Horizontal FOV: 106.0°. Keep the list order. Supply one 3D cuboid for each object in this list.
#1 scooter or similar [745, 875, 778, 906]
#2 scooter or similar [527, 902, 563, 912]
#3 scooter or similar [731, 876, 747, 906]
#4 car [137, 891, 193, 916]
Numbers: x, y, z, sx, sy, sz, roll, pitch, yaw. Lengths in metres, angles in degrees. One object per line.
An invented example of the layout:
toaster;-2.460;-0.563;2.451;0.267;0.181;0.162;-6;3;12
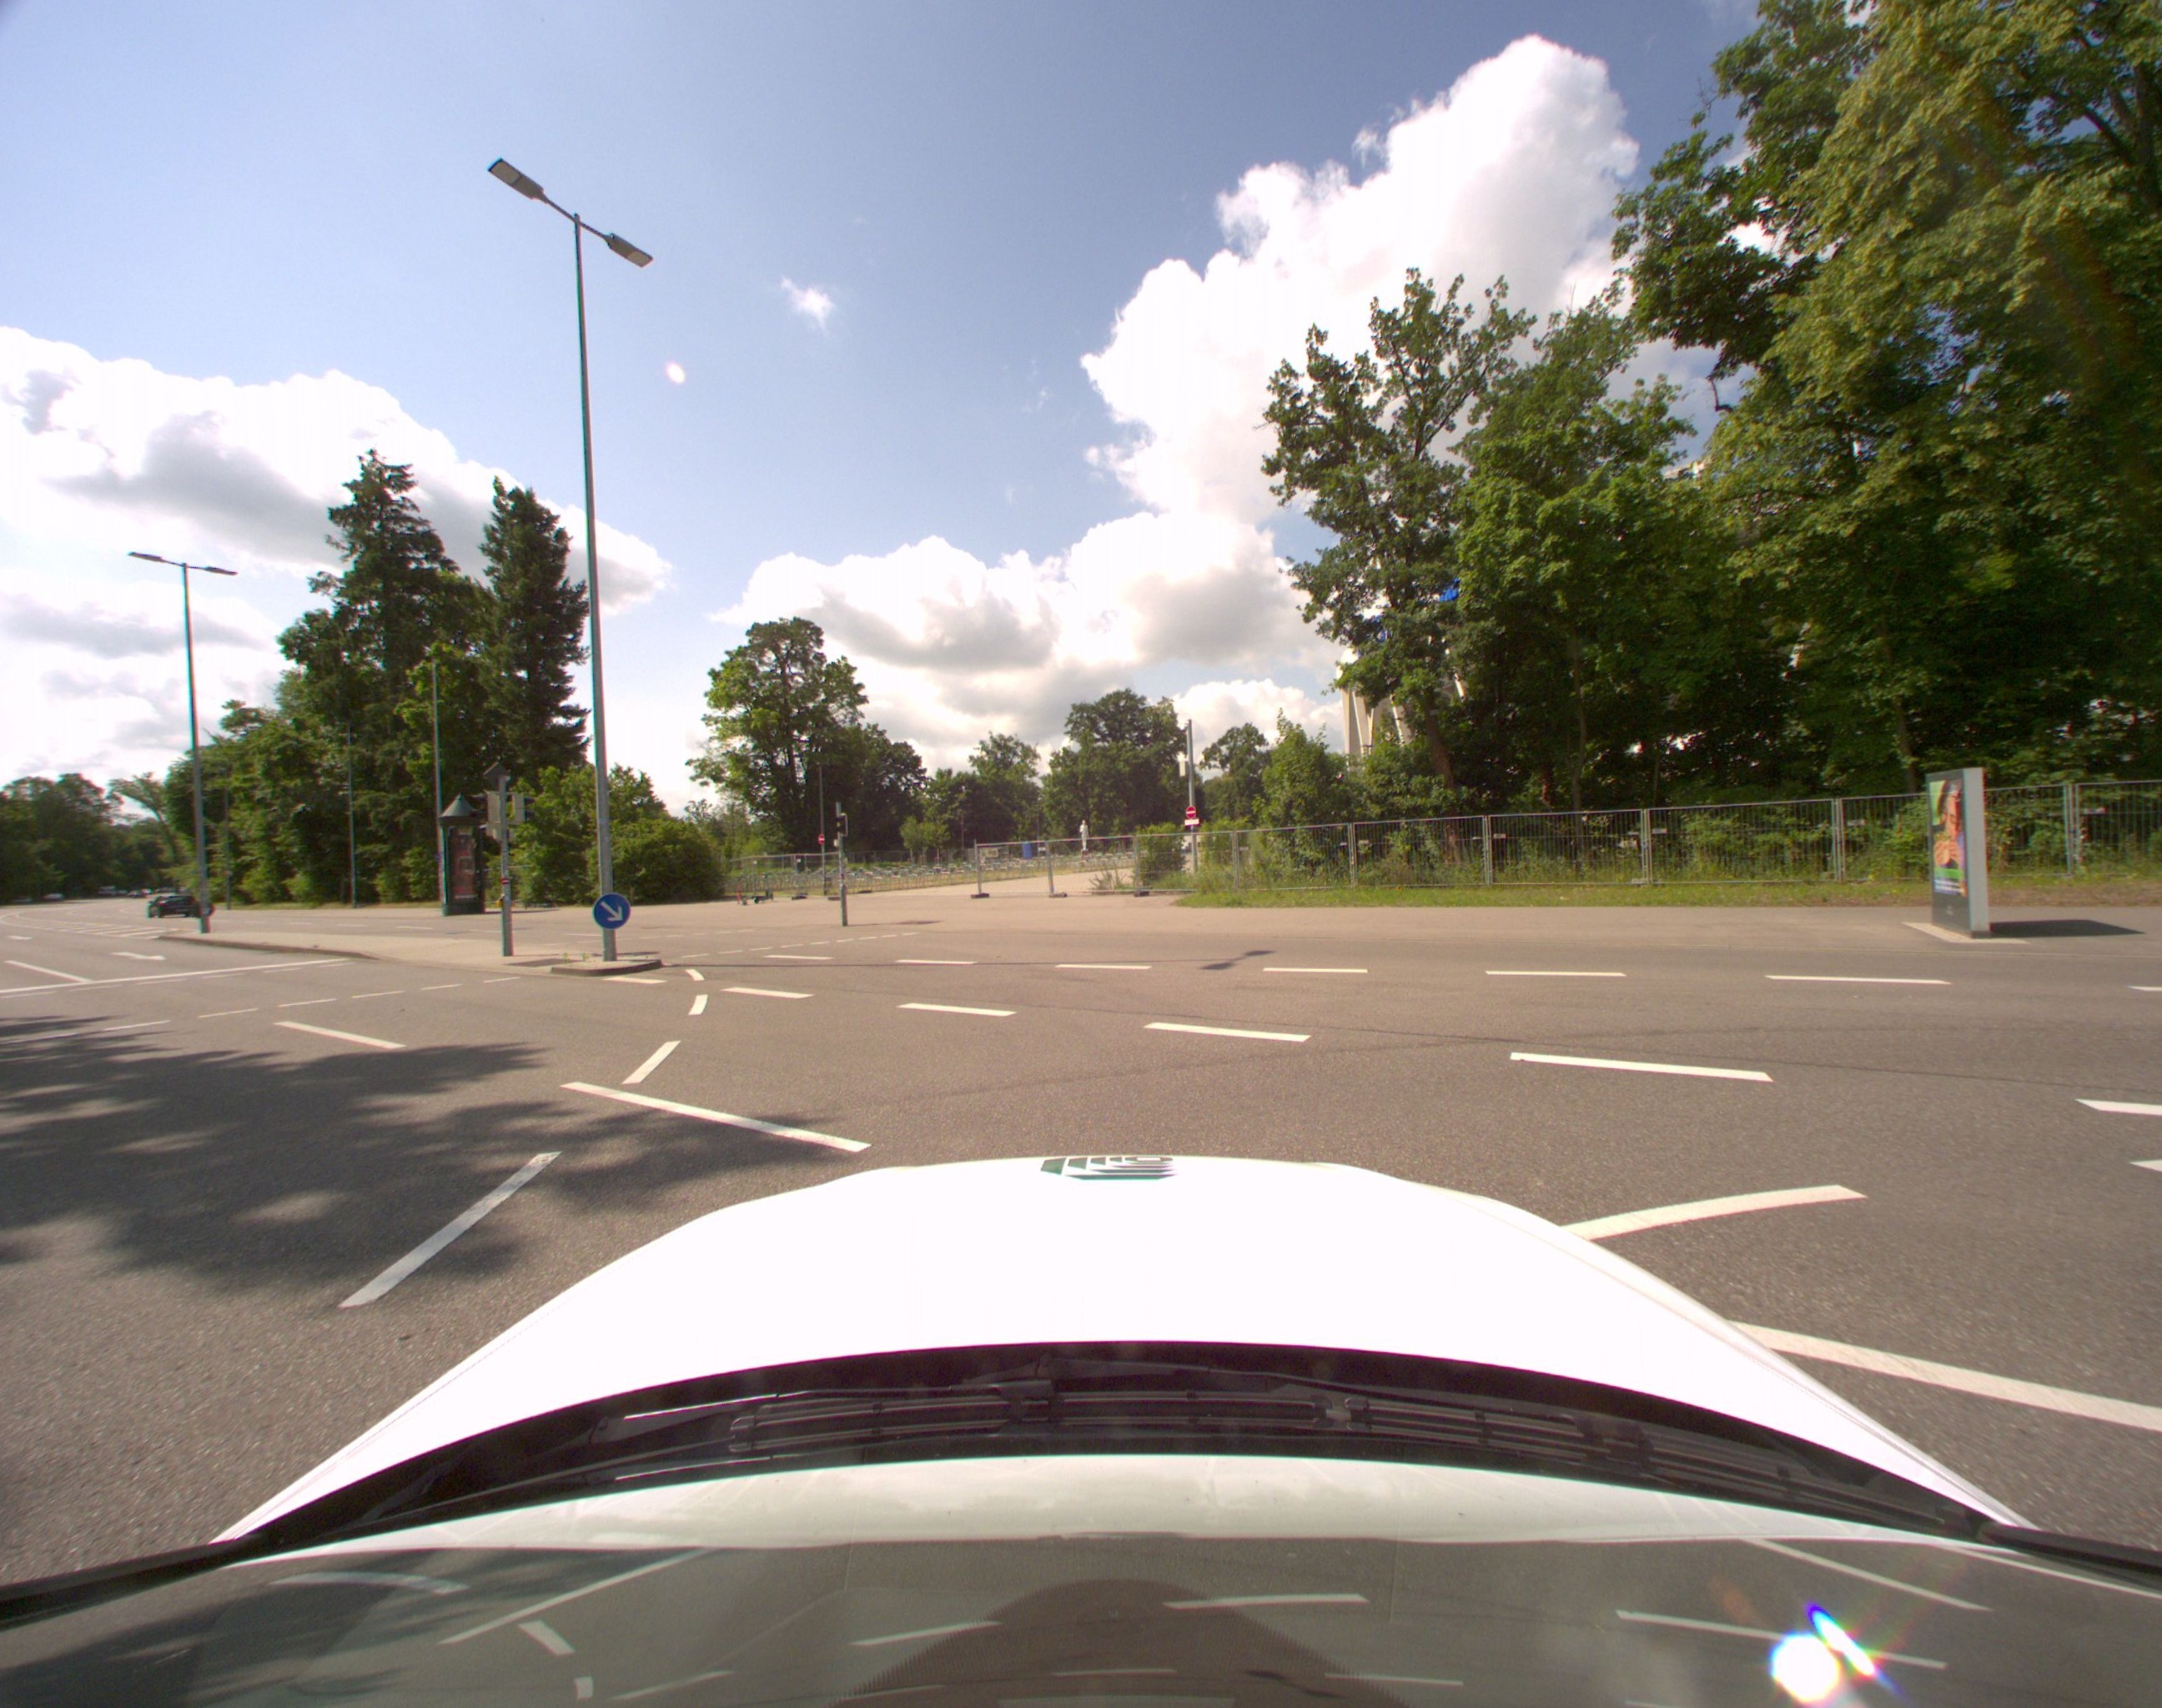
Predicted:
scooter or similar;-13.717;1.566;34.997;0.402;1.252;1.319;-3;0;25
scooter or similar;-26.037;2.572;39.555;1.455;0.389;0.861;-7;-8;30
scooter or similar;-14.273;1.541;33.964;0.408;1.200;1.299;-3;0;-29
car;-56.963;3.086;50.634;3.924;1.378;1.613;-3;-1;32
